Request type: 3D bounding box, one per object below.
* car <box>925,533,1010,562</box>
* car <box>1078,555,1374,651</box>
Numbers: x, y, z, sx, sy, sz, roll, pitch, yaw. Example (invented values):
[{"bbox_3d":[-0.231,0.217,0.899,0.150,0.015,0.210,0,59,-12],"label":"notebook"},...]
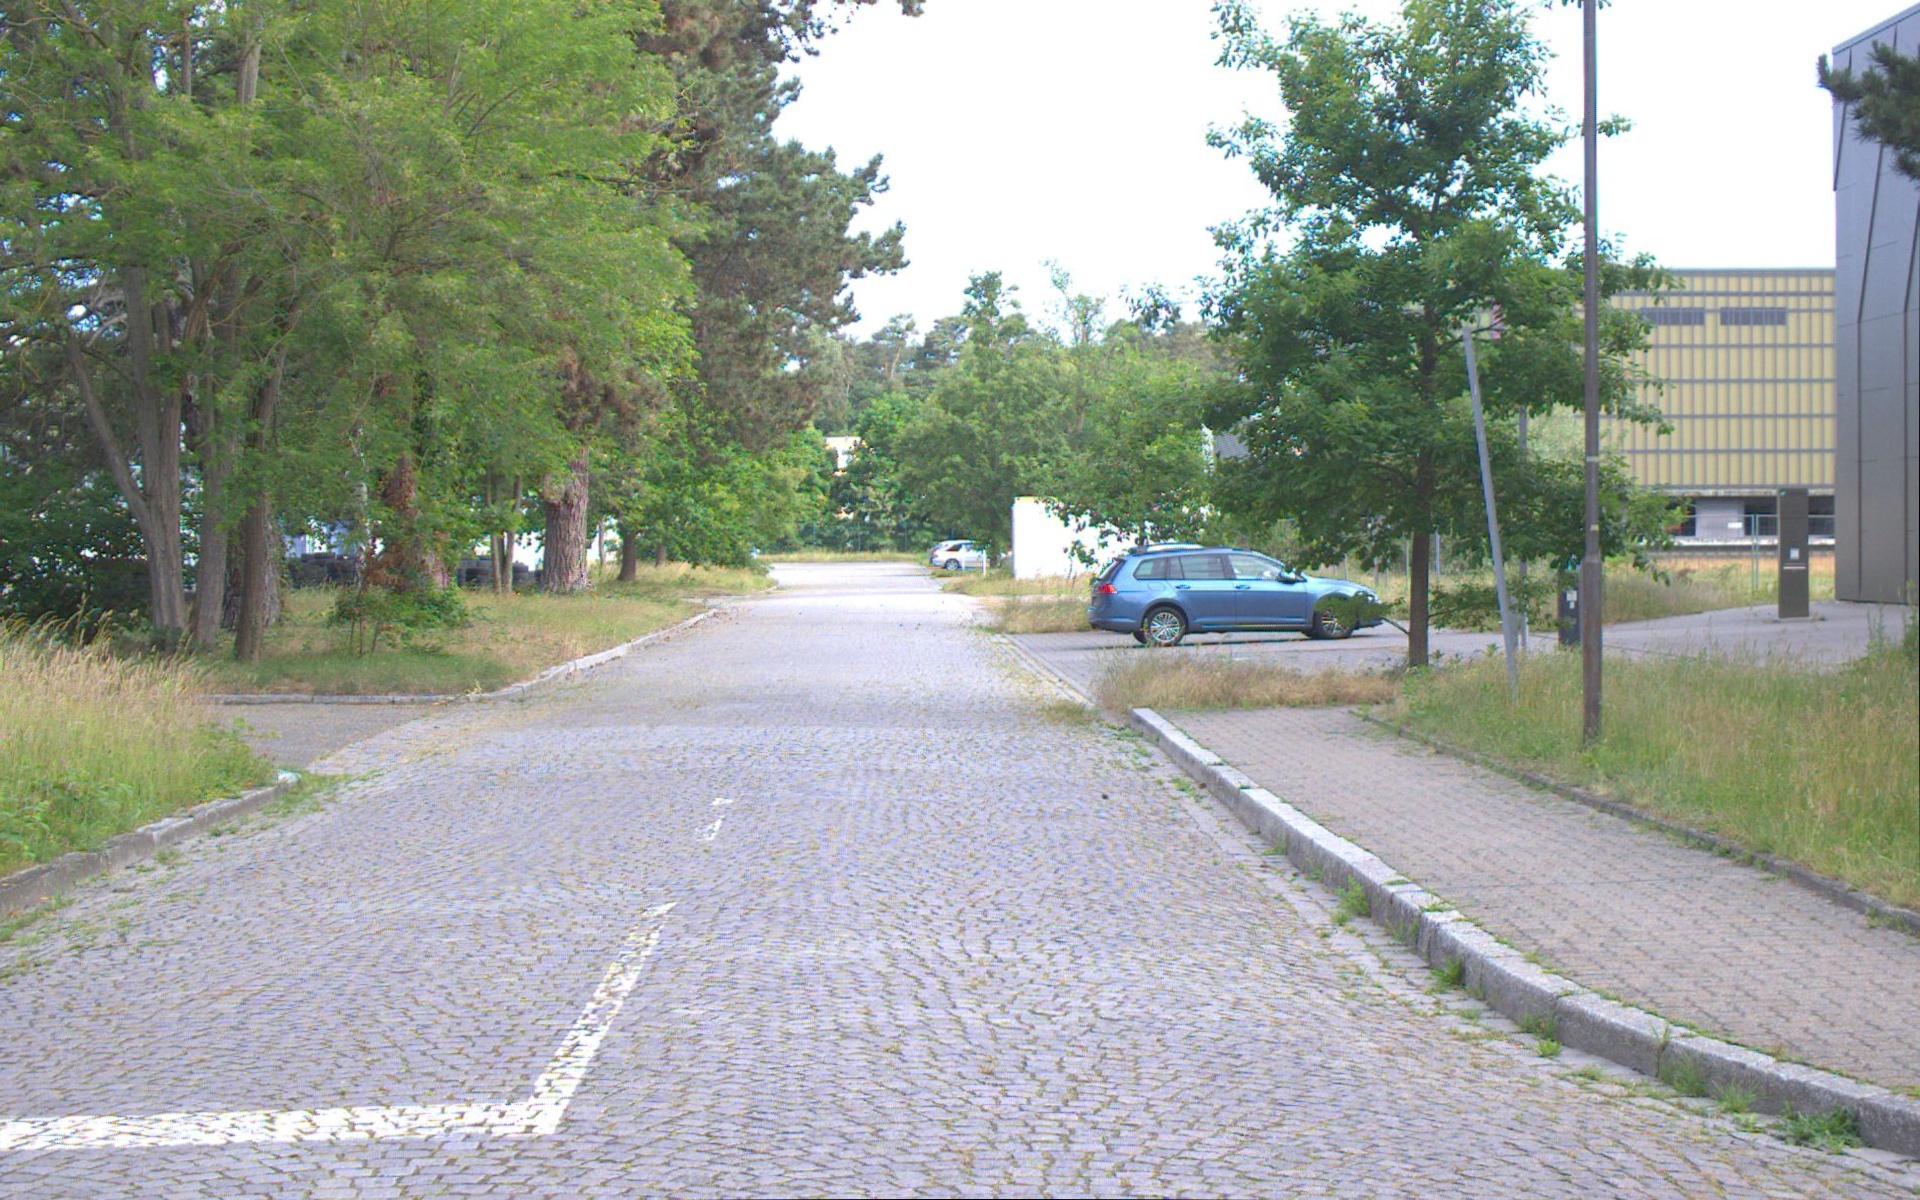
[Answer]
[{"bbox_3d":[0.378,-2.612,170.284,3.986,1.393,2.001,0,1,-7],"label":"car"},{"bbox_3d":[4.077,0.035,53.267,4.343,1.417,2.000,0,1,-3],"label":"car"}]
